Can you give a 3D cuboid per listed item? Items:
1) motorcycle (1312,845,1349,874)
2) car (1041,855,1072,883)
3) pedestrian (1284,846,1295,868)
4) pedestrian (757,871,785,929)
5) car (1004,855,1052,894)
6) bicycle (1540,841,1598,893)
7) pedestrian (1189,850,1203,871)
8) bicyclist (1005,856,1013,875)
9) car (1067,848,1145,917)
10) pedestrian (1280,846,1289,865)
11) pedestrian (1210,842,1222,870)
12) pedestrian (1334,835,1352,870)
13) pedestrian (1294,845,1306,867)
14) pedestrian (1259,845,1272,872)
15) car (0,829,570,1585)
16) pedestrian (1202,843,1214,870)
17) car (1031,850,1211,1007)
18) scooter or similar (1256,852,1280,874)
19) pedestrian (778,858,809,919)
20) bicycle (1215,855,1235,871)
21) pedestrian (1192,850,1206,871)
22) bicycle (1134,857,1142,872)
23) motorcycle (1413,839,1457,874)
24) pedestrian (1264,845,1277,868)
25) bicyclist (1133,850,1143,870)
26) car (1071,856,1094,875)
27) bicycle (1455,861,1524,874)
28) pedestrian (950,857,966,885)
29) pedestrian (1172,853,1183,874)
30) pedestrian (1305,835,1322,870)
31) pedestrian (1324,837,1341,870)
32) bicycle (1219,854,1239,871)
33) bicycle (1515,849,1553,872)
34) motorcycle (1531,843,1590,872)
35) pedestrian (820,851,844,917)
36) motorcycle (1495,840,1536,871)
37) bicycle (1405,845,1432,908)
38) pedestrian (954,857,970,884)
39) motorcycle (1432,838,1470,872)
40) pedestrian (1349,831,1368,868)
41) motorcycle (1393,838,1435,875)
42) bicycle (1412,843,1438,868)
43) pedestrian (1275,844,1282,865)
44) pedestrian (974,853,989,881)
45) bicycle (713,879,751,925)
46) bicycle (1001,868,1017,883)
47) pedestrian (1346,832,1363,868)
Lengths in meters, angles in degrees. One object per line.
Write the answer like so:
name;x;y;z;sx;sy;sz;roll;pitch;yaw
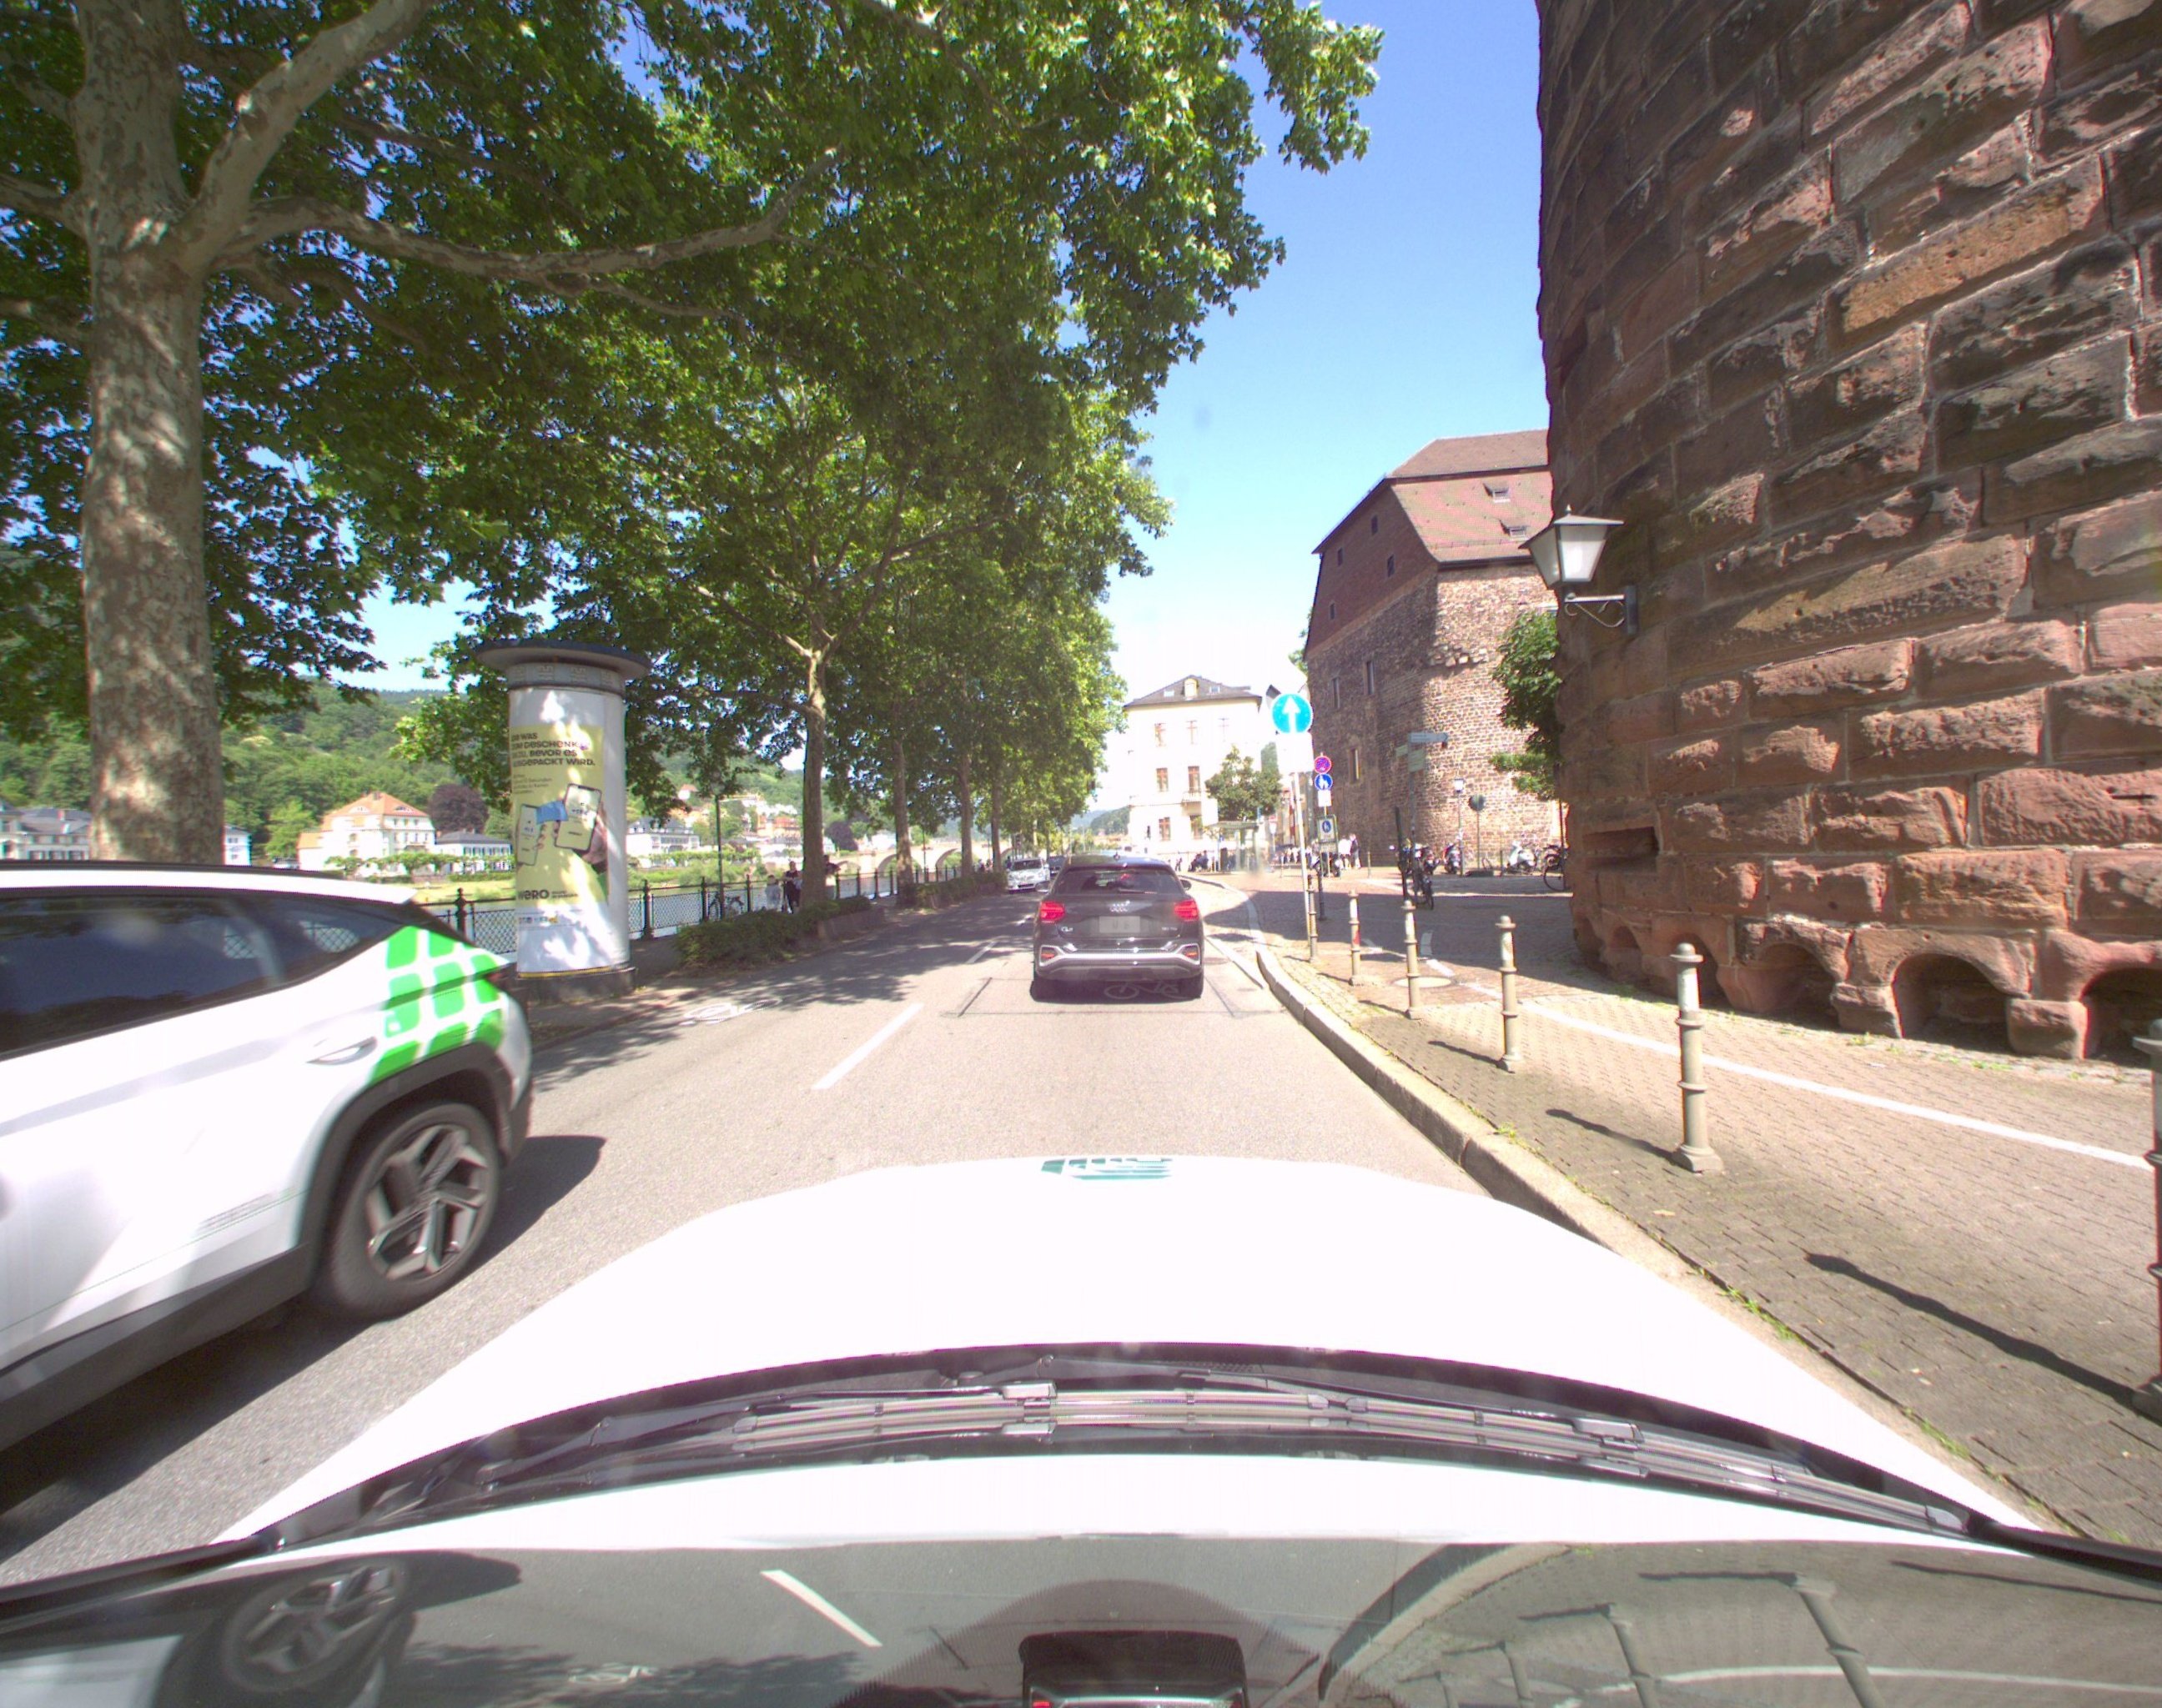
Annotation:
motorcycle;9.125;0.195;29.890;0.564;1.012;2.490;-3;0;1
car;-1.737;1.088;59.372;1.806;1.725;4.423;-8;0;2
pedestrian;19.545;0.284;76.221;0.836;2.014;0.738;-1;-1;2
pedestrian;-7.492;1.099;19.676;0.476;1.362;0.418;0;0;5
car;-2.451;0.920;38.605;1.732;1.572;4.093;-6;0;2
bicycle;11.565;0.283;19.353;0.444;1.162;1.733;-2;0;5
pedestrian;6.852;0.379;48.621;0.662;1.231;0.640;0;-1;-4
bicyclist;-4.954;0.790;56.041;0.565;1.311;0.551;0;-1;-3
car;0.636;0.673;20.684;1.786;1.595;3.400;0;0;2
pedestrian;16.474;0.128;65.824;0.619;1.532;0.467;-1;-1;5
pedestrian;9.918;0.148;59.873;0.632;2.014;0.670;-1;-1;31
pedestrian;13.999;-0.078;43.502;0.666;1.884;0.821;-1;-1;1
pedestrian;20.480;0.219;76.119;0.936;2.014;0.808;-1;-1;2
pedestrian;9.595;0.250;42.325;0.555;1.385;0.588;-1;-1;4
car;-3.303;0.835;1.725;1.763;1.660;4.000;-4;0;1
pedestrian;9.436;0.177;60.450;0.632;2.014;0.670;-1;-1;31
car;0.446;0.717;9.709;1.736;1.509;3.648;0;0;2
scooter or similar;8.969;0.423;39.063;1.085;1.066;0.323;-1;-1;-1
pedestrian;-8.217;0.977;23.316;0.599;1.685;0.583;-3;0;0
bicycle;8.719;0.544;49.335;1.187;1.016;0.178;0;-1;-17
pedestrian;6.926;0.392;47.840;0.662;1.212;0.640;0;-1;-4
bicycle;4.179;0.786;59.845;0.436;1.086;1.675;0;-1;-2
motorcycle;12.959;0.096;29.871;0.672;1.235;2.313;-1;-1;2
pedestrian;17.147;0.248;73.722;0.941;2.014;0.808;-1;-1;2
bicyclist;4.185;0.452;59.919;0.604;1.450;0.590;0;-1;-3
car;0.180;1.147;81.668;1.985;1.806;4.003;-1;-1;3
bicycle;13.684;0.441;27.336;1.914;0.381;0.921;-2;-1;16
pedestrian;-8.183;1.122;54.348;0.906;1.844;0.586;-1;-1;6
pedestrian;6.903;0.671;58.400;0.691;1.500;0.513;0;-1;-3
pedestrian;12.629;-0.065;44.253;0.744;1.890;0.753;-1;-1;4
pedestrian;13.904;-0.040;45.079;0.649;1.802;0.847;-1;0;1
bicycle;8.854;0.497;48.674;1.205;1.035;0.178;0;-1;-17
bicycle;16.625;0.217;29.954;0.352;0.820;1.926;-1;0;1
motorcycle;18.118;0.129;30.773;1.854;1.054;0.481;-1;-1;9
pedestrian;-7.147;0.856;23.400;0.532;1.887;0.437;0;0;1
motorcycle;15.477;0.059;29.060;0.505;1.073;1.841;-1;-1;2
bicycle;6.844;0.428;16.552;0.192;1.203;1.775;-2;0;13
pedestrian;-8.049;1.143;55.182;0.906;1.811;0.587;-1;-1;6
motorcycle;13.766;0.058;30.349;0.544;1.235;2.031;-1;-1;2
pedestrian;15.308;-0.217;44.960;0.727;2.014;0.878;-1;-1;1
motorcycle;12.088;0.110;29.618;0.653;1.266;2.201;-2;-1;2
bicycle;16.832;0.082;39.882;0.388;1.209;1.715;0;-1;-6
pedestrian;15.950;0.070;65.859;0.447;1.680;0.467;-1;-1;3
pedestrian;-7.074;0.934;58.079;0.906;2.014;0.586;-1;-1;6
bicycle;-8.889;1.208;20.769;0.358;1.091;1.296;1;0;1
bicycle;-4.942;1.451;56.010;1.091;1.006;0.303;-1;-1;-5
pedestrian;14.809;-0.223;44.094;0.666;1.920;0.821;-1;-1;1
